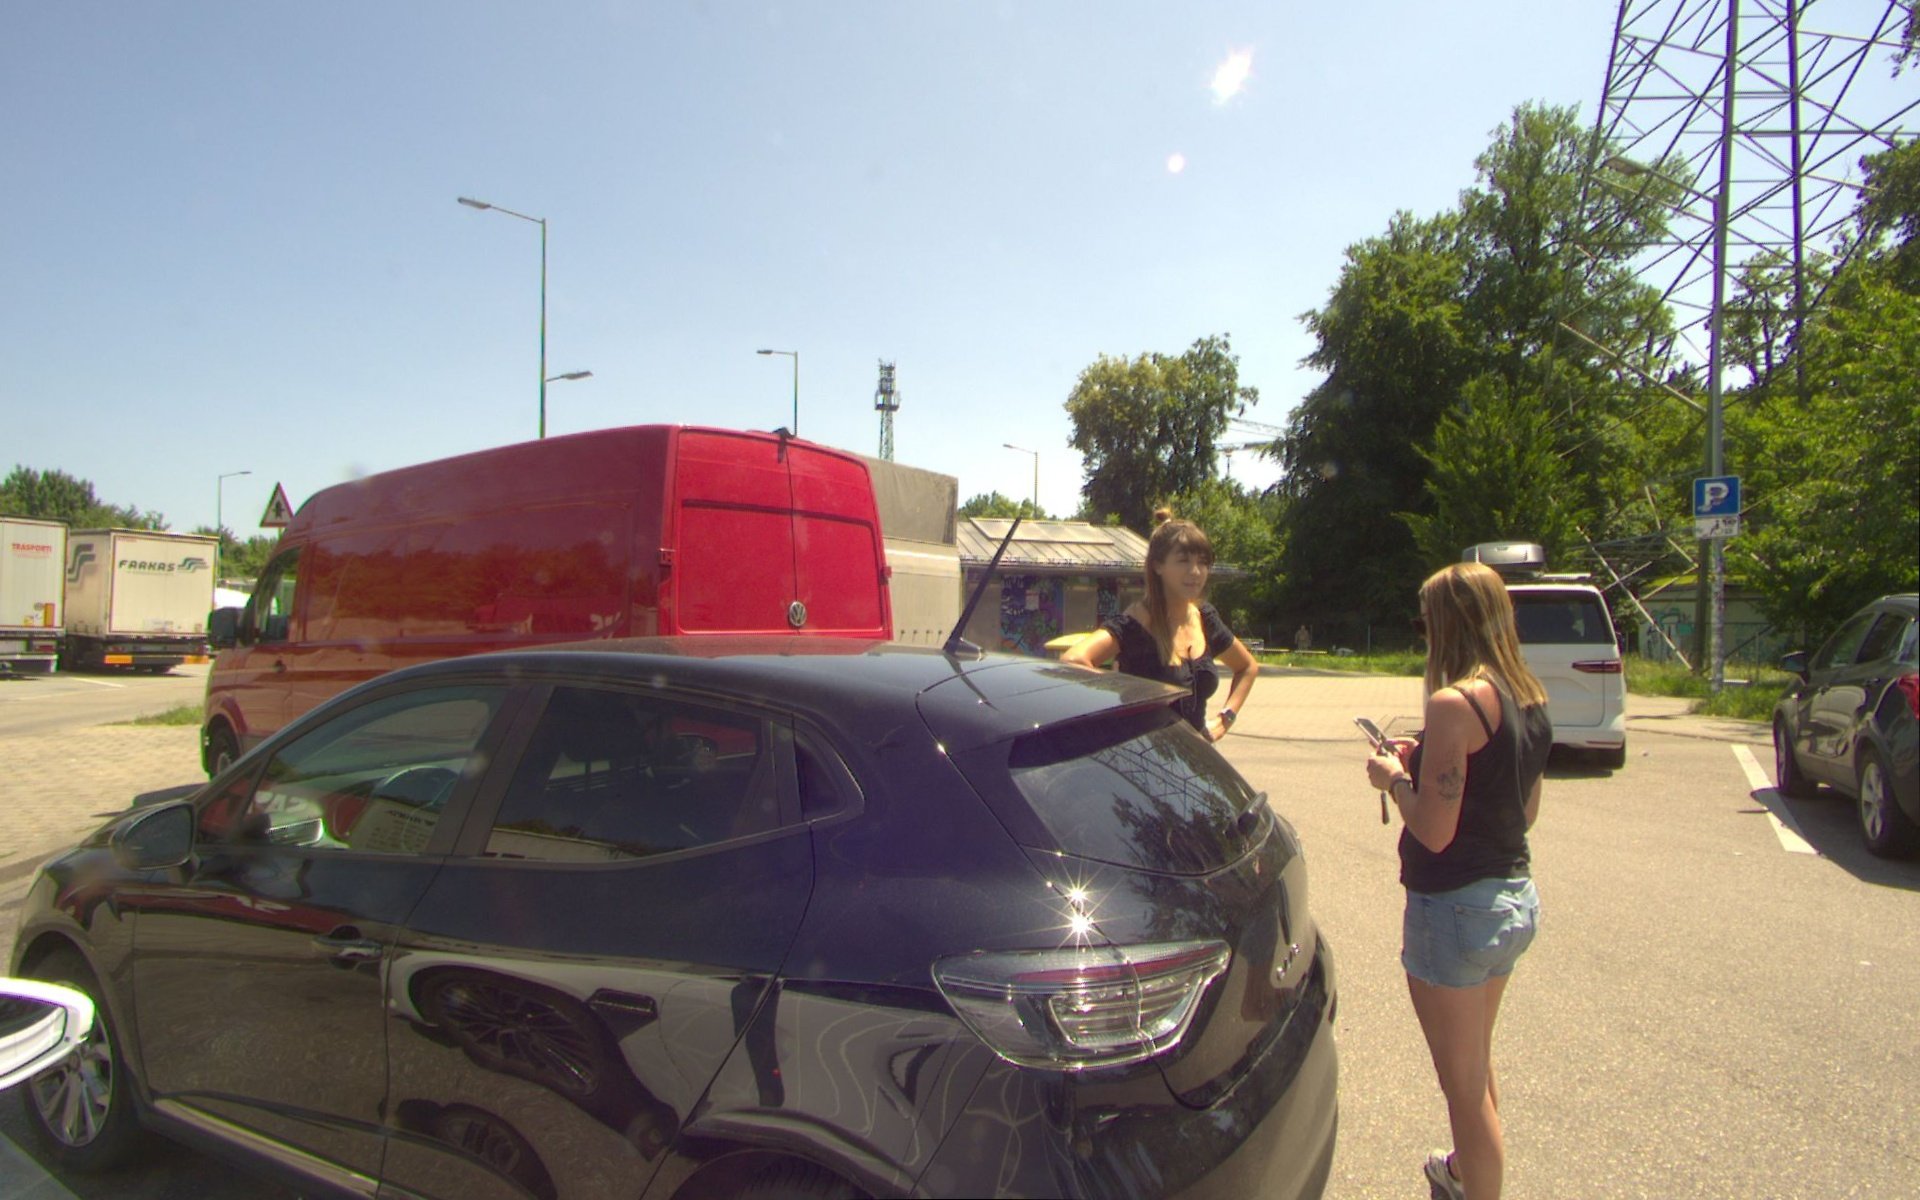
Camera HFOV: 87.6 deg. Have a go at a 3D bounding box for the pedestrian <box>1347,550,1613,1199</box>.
[{"bbox_3d":[1.180,0.717,2.293,0.478,1.615,0.501,0,0,29],"label":"pedestrian"}]

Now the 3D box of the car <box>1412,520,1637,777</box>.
[{"bbox_3d":[6.703,0.519,12.006,1.901,2.401,4.954,1,-1,29],"label":"car"}]

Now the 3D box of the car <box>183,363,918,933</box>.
[{"bbox_3d":[-3.396,0.251,7.361,6.298,2.668,1.988,0,-1,36],"label":"car"}]

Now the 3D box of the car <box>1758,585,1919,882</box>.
[{"bbox_3d":[7.053,0.792,6.890,1.811,1.638,4.149,0,-1,30],"label":"car"}]

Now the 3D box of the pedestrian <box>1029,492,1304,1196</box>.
[{"bbox_3d":[0.686,0.666,3.191,0.481,1.884,0.906,0,-1,39],"label":"pedestrian"}]

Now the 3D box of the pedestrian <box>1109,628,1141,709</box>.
[{"bbox_3d":[2.828,1.164,17.190,0.439,1.362,0.477,0,0,23],"label":"pedestrian"}]

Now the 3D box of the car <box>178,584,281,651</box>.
[{"bbox_3d":[-29.917,0.757,41.015,3.943,2.632,2.111,-1,-2,32],"label":"car"}]

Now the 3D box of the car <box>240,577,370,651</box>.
[{"bbox_3d":[-29.446,0.604,44.932,6.259,3.114,2.495,0,-1,32],"label":"car"}]

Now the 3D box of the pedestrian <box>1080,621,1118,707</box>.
[{"bbox_3d":[2.422,1.100,17.446,0.521,1.478,0.576,0,0,23],"label":"pedestrian"}]

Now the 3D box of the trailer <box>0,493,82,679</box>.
[{"bbox_3d":[-28.566,-0.340,27.847,12.642,4.510,2.677,0,-1,32],"label":"trailer"}]

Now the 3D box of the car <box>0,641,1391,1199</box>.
[{"bbox_3d":[-0.826,0.858,2.802,3.628,1.476,1.776,-1,-2,27],"label":"car"}]

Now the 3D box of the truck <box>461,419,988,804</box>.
[{"bbox_3d":[-2.389,0.171,9.847,4.751,2.863,2.514,-1,-2,34],"label":"truck"}]

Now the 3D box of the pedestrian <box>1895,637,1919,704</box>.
[{"bbox_3d":[17.257,1.247,17.786,0.694,1.178,0.787,-1,-1,22],"label":"pedestrian"}]

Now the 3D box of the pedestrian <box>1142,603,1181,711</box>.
[{"bbox_3d":[3.414,0.954,16.976,0.520,1.783,0.651,0,0,23],"label":"pedestrian"}]

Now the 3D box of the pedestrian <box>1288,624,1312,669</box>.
[{"bbox_3d":[15.883,2.167,46.783,0.955,2.039,0.829,0,-1,10],"label":"pedestrian"}]

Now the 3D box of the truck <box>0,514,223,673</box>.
[{"bbox_3d":[-27.132,-0.022,31.221,11.800,4.279,2.582,-1,-2,32],"label":"truck"}]
